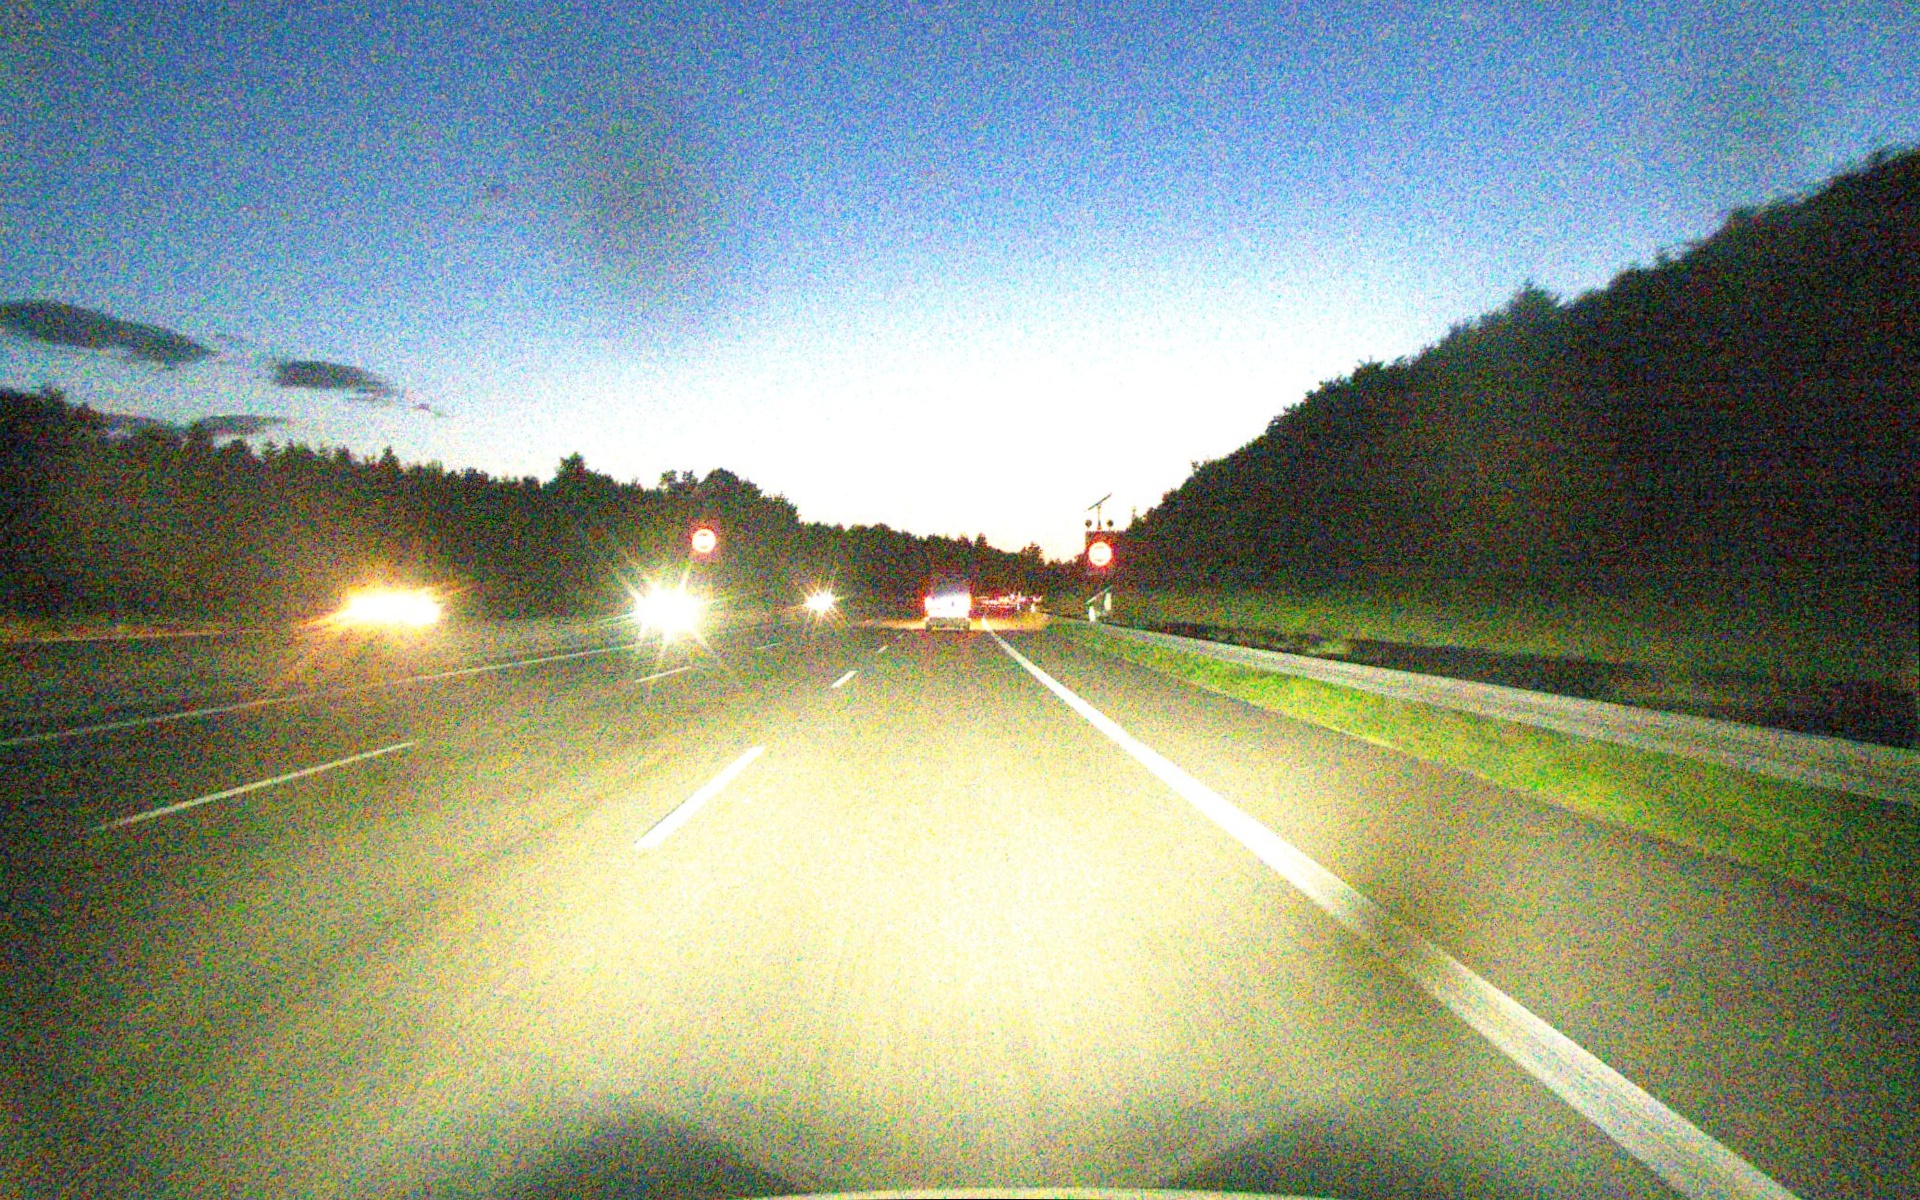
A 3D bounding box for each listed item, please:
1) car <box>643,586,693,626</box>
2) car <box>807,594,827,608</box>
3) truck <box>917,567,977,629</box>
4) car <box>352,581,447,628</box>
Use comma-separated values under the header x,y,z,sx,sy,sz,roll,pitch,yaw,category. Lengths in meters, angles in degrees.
x,y,z,sx,sy,sz,roll,pitch,yaw,category
-15.498,0.319,87.872,1.953,2.049,4.603,1,0,-2,car
-16.854,0.155,194.857,1.953,1.630,4.212,1,0,0,car
-0.615,-0.069,77.003,2.576,2.670,8.683,1,0,-1,truck
-22.725,0.202,67.246,1.952,1.809,5.091,1,0,2,car
